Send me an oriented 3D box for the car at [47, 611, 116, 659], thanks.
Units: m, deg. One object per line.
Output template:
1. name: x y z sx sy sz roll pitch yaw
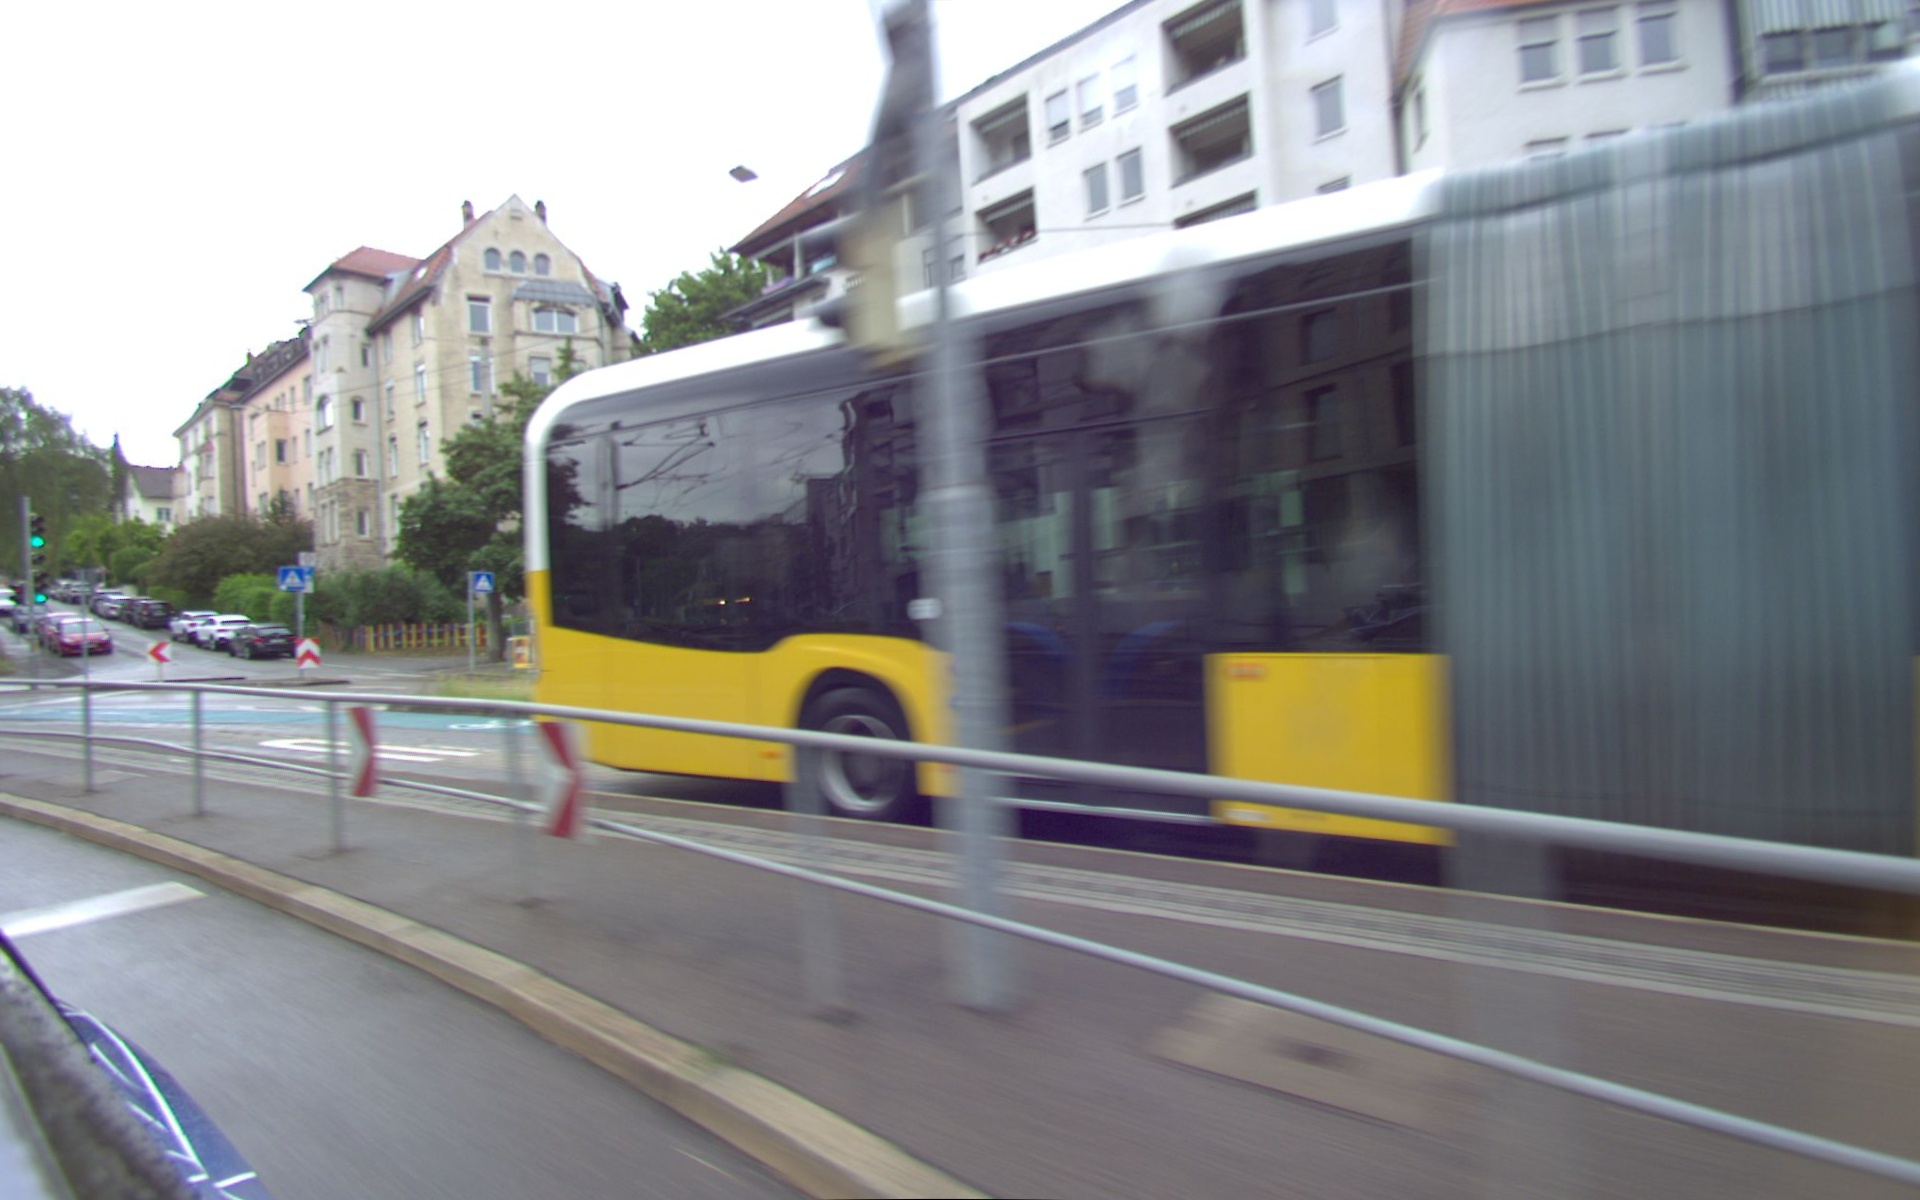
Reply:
1. car: -39.012 1.564 44.895 4.001 2.029 1.971 -3 -3 44

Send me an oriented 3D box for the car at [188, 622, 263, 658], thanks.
1. car: -34.878 1.880 47.996 4.354 1.606 1.972 -2 -2 41

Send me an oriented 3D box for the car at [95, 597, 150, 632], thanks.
1. car: -50.296 0.875 60.765 3.998 2.029 1.972 -2 -2 41

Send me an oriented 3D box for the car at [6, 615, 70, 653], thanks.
1. car: -47.311 1.736 51.922 4.279 1.849 1.782 -2 -1 39

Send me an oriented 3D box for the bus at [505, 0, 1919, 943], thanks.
1. bus: 0.833 -0.478 6.701 9.081 3.495 2.570 -1 -1 33

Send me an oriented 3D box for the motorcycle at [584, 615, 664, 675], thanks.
1. motorcycle: -9.272 1.225 27.907 2.434 1.562 0.691 -1 2 34

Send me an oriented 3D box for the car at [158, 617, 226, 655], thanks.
1. car: -39.207 1.848 51.639 4.279 1.849 1.782 -2 -3 39

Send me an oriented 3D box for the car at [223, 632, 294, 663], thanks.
1. car: -29.878 1.995 43.035 4.358 1.233 1.728 -2 -2 45

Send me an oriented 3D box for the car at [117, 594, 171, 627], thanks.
1. car: -47.168 0.640 58.496 3.662 1.849 1.659 -2 -1 39

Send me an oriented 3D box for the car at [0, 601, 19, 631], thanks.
1. car: -60.981 1.034 63.847 4.279 1.849 1.782 -2 -1 39

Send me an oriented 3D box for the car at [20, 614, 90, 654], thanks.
1. car: -43.068 1.602 48.142 4.279 1.849 1.782 -2 -1 39

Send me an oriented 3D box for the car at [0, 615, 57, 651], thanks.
1. car: -50.975 1.789 55.288 4.279 1.849 1.782 -2 -1 39

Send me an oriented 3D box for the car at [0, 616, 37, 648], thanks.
1. car: -56.244 1.891 59.846 4.279 1.849 1.782 -2 -1 39

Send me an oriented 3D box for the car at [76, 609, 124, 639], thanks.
1. car: -55.223 1.557 64.977 3.662 1.849 1.659 -2 -1 39
